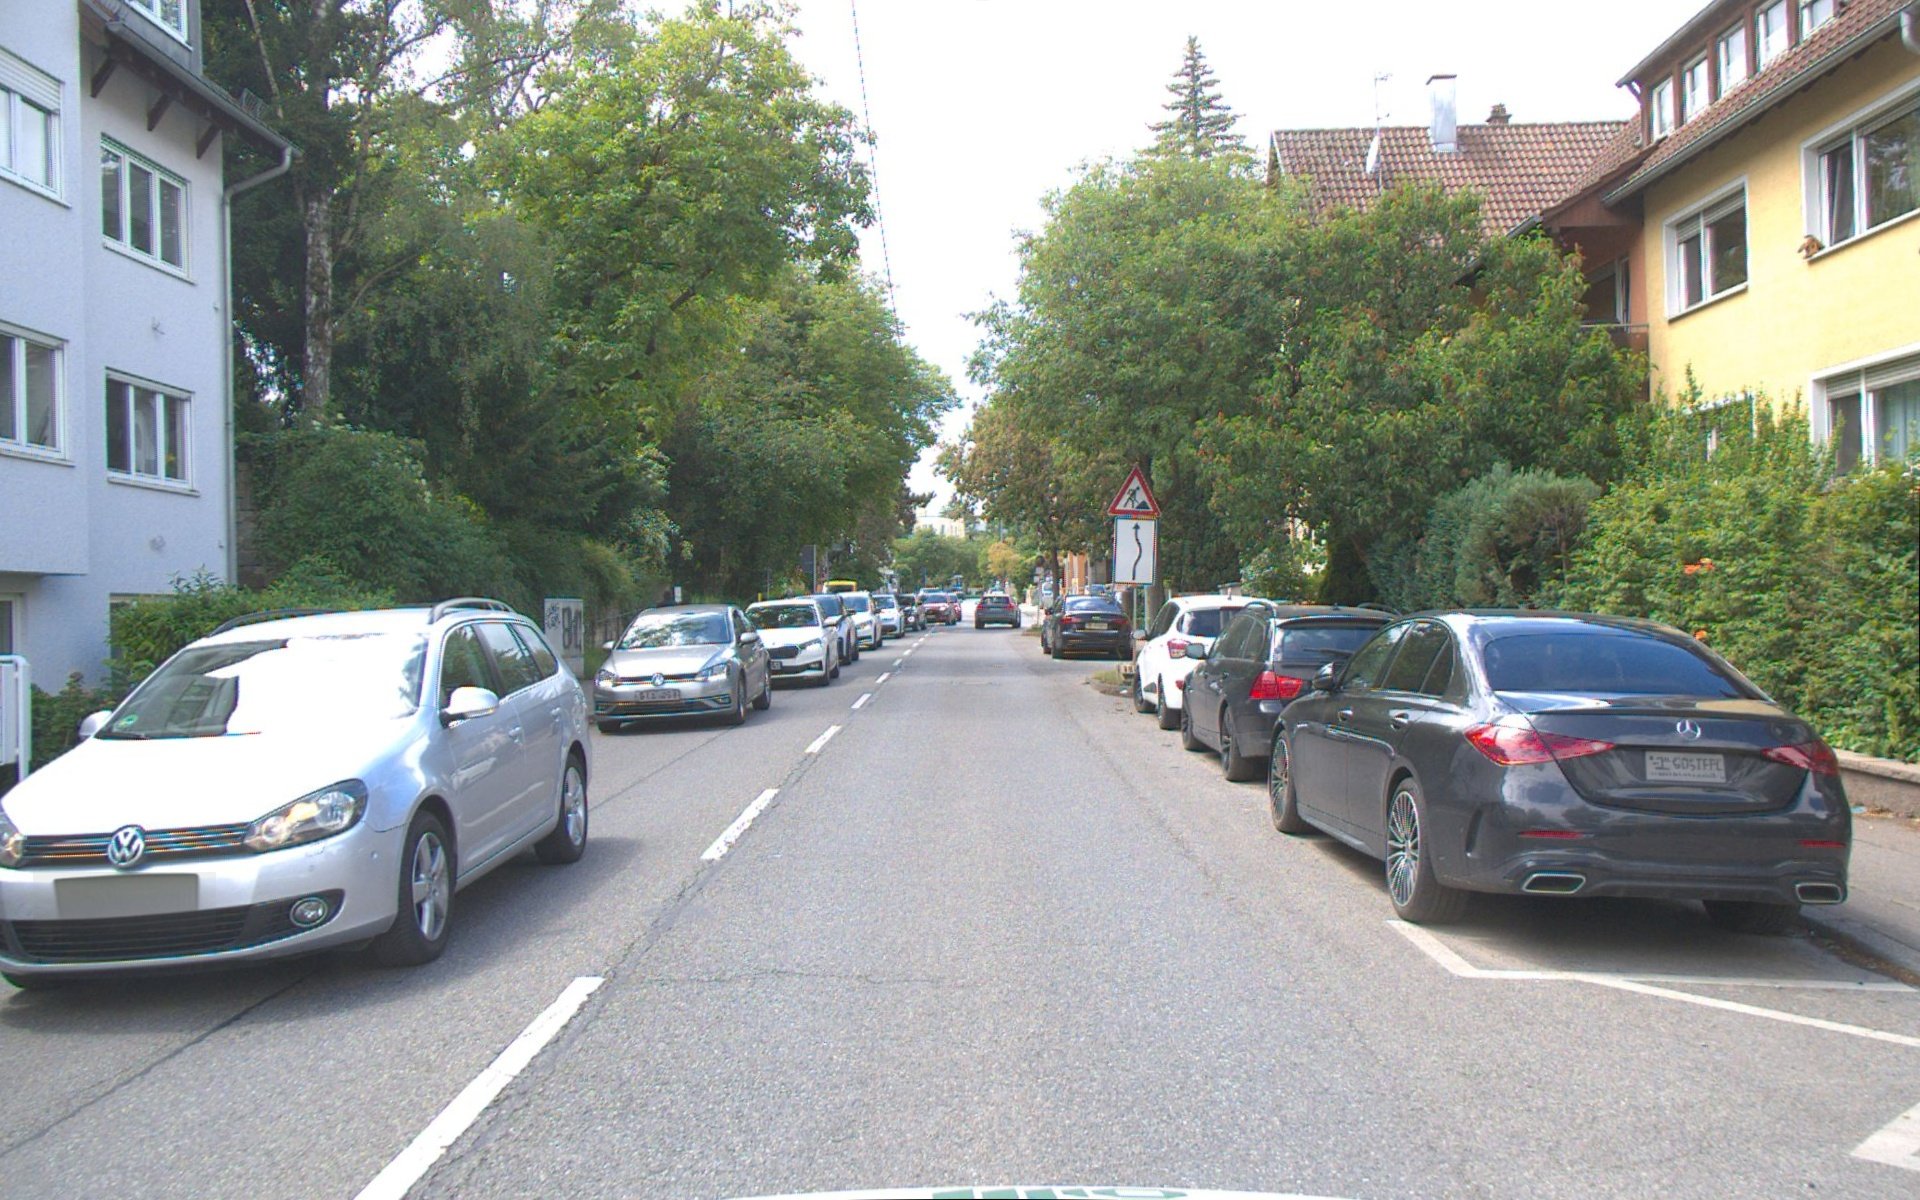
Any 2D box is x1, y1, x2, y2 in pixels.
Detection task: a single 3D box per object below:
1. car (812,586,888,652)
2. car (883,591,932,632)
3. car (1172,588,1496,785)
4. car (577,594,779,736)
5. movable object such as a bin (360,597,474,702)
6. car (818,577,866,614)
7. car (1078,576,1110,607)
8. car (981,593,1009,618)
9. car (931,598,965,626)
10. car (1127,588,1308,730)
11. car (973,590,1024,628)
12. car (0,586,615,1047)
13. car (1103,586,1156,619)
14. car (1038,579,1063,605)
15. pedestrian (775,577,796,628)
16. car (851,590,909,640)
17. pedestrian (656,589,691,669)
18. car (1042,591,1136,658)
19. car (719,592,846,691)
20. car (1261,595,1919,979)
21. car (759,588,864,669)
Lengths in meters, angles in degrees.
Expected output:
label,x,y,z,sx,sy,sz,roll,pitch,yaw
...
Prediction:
label,x,y,z,sx,sy,sz,roll,pitch,yaw
car,-3.064,0.493,46.891,1.749,1.676,4.491,-3,0,0
car,-2.189,0.465,69.844,1.752,1.568,4.264,-3,0,2
car,3.146,0.644,14.909,1.952,1.448,4.589,-2,0,1
car,-3.425,0.742,20.870,1.674,1.481,4.287,-4,0,0
movable object such as a bin,-7.807,0.699,23.861,1.304,1.452,1.212,-1,-1,-6
car,-6.671,-0.246,93.919,2.101,2.015,4.932,-1,-1,3
car,8.097,-0.525,99.994,1.747,1.663,3.694,-5,0,3
car,2.264,0.320,106.159,1.778,1.527,4.268,0,0,1
car,-0.651,0.669,90.255,1.656,1.450,3.438,-1,-1,2
car,3.055,0.639,20.271,1.588,1.534,3.779,-2,0,0
car,1.690,0.372,71.856,1.934,1.539,4.269,2,0,5
car,-2.988,0.755,7.979,1.693,1.528,4.375,-4,0,-1
car,7.204,0.081,70.586,1.689,1.339,4.265,-1,0,-2
car,7.609,-0.652,139.086,1.952,2.049,4.001,-1,-1,2
pedestrian,-6.266,0.098,59.447,0.700,1.793,1.121,-1,-1,-5
car,-2.826,0.494,58.957,1.748,1.619,4.154,-3,0,0
pedestrian,-6.155,0.617,35.562,0.640,1.696,0.931,-1,-1,-5
car,2.987,0.530,39.261,1.765,1.470,4.886,1,0,-1
car,-3.004,0.661,28.726,1.724,1.464,3.970,-3,1,0
car,2.943,0.735,9.000,1.698,1.453,4.883,1,0,0
car,-3.269,0.593,37.158,1.889,1.573,4.086,-4,1,0
